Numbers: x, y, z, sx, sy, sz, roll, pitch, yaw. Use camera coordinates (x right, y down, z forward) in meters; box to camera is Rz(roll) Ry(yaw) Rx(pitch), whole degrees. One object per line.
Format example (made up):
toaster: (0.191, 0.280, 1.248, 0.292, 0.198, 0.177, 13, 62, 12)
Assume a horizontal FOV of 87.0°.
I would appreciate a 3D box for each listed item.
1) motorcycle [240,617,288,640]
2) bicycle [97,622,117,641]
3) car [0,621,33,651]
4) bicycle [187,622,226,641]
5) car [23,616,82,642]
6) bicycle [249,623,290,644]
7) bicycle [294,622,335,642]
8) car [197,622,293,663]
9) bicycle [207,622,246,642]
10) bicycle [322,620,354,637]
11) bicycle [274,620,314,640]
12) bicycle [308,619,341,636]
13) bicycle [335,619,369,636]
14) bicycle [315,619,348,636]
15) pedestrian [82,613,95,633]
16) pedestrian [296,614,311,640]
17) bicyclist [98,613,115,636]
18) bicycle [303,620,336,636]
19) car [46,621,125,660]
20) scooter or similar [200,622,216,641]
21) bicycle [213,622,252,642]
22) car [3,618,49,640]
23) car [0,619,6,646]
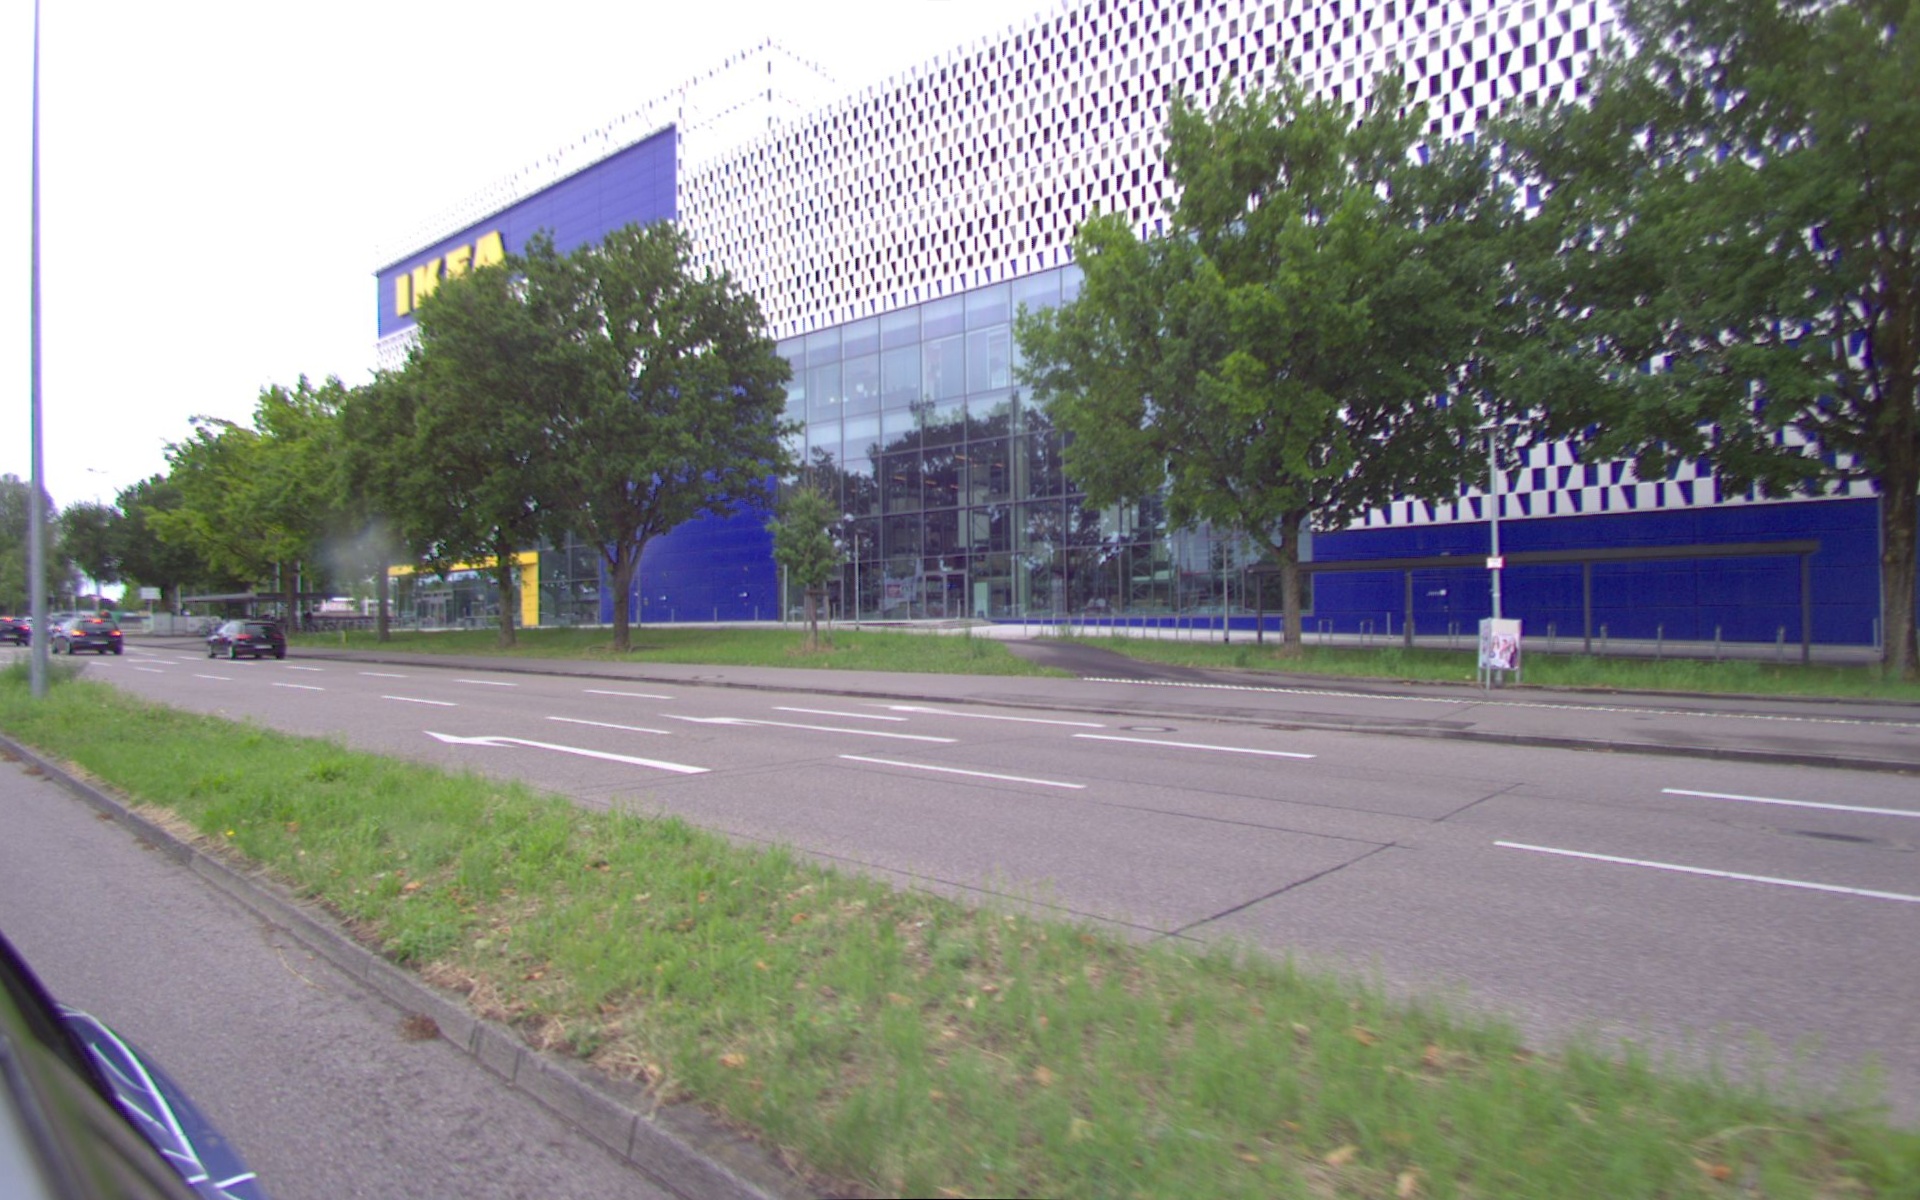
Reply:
motorcycle: (-46.235, 1.903, 67.258, 0.796, 1.365, 2.478, -1, 1, 26)
bicycle: (-58.497, 2.173, 69.404, 2.054, 1.260, 0.636, -1, 0, 39)
car: (-49.869, 1.863, 52.742, 3.996, 1.464, 1.740, 0, -2, 39)
bicycle: (-50.023, 2.088, 67.156, 0.593, 1.165, 1.996, -1, -1, 39)
car: (-52.605, 1.683, 58.631, 4.399, 1.463, 1.755, -1, -2, 38)
bicycle: (-41.924, 2.005, 61.432, 1.989, 1.165, 0.595, -2, 1, -37)
bicycle: (-39.297, 1.935, 61.607, 0.593, 1.131, 1.995, -1, 1, 41)
car: (-27.322, 1.577, 38.627, 4.177, 1.467, 1.912, -1, -2, 39)
bicycle: (-47.171, 2.047, 65.102, 0.593, 1.165, 1.875, -1, 1, 39)
bicycle: (-45.566, 2.064, 74.177, 0.590, 1.165, 2.005, -1, 1, 26)
bicycle: (-42.019, 1.894, 63.848, 0.593, 1.165, 1.996, -1, 1, 39)
bicycle: (-47.646, 2.070, 75.939, 0.593, 1.165, 1.997, -1, 1, 37)
bicycle: (-43.801, 1.978, 72.899, 0.592, 1.165, 2.000, -1, 1, 32)
bicycle: (-46.687, 2.068, 75.168, 0.593, 1.165, 1.997, -1, 1, 37)
pedestrian: (-75.281, 1.961, 87.423, 0.808, 1.655, 0.627, 1, 0, 37)
pedestrian: (-46.379, 1.915, 71.508, 0.807, 1.759, 0.670, -2, -1, 39)
bicyclist: (-58.509, 1.687, 69.377, 0.999, 1.589, 0.634, -2, 0, 39)
bicycle: (-48.494, 2.102, 76.647, 0.593, 1.165, 1.997, -1, 1, 37)
car: (-35.510, 1.604, 41.057, 4.179, 1.467, 1.762, 0, -1, 40)
scooter or similar: (-49.507, 2.045, 66.629, 0.353, 1.193, 1.296, -2, 0, -14)
bicycle: (-46.317, 2.025, 64.443, 0.593, 1.165, 1.875, -1, 1, 39)
car: (-65.604, 2.035, 71.066, 4.164, 1.465, 1.847, -1, -2, 40)
car: (-57.941, 1.940, 59.649, 4.177, 1.530, 1.912, -1, 0, 38)
